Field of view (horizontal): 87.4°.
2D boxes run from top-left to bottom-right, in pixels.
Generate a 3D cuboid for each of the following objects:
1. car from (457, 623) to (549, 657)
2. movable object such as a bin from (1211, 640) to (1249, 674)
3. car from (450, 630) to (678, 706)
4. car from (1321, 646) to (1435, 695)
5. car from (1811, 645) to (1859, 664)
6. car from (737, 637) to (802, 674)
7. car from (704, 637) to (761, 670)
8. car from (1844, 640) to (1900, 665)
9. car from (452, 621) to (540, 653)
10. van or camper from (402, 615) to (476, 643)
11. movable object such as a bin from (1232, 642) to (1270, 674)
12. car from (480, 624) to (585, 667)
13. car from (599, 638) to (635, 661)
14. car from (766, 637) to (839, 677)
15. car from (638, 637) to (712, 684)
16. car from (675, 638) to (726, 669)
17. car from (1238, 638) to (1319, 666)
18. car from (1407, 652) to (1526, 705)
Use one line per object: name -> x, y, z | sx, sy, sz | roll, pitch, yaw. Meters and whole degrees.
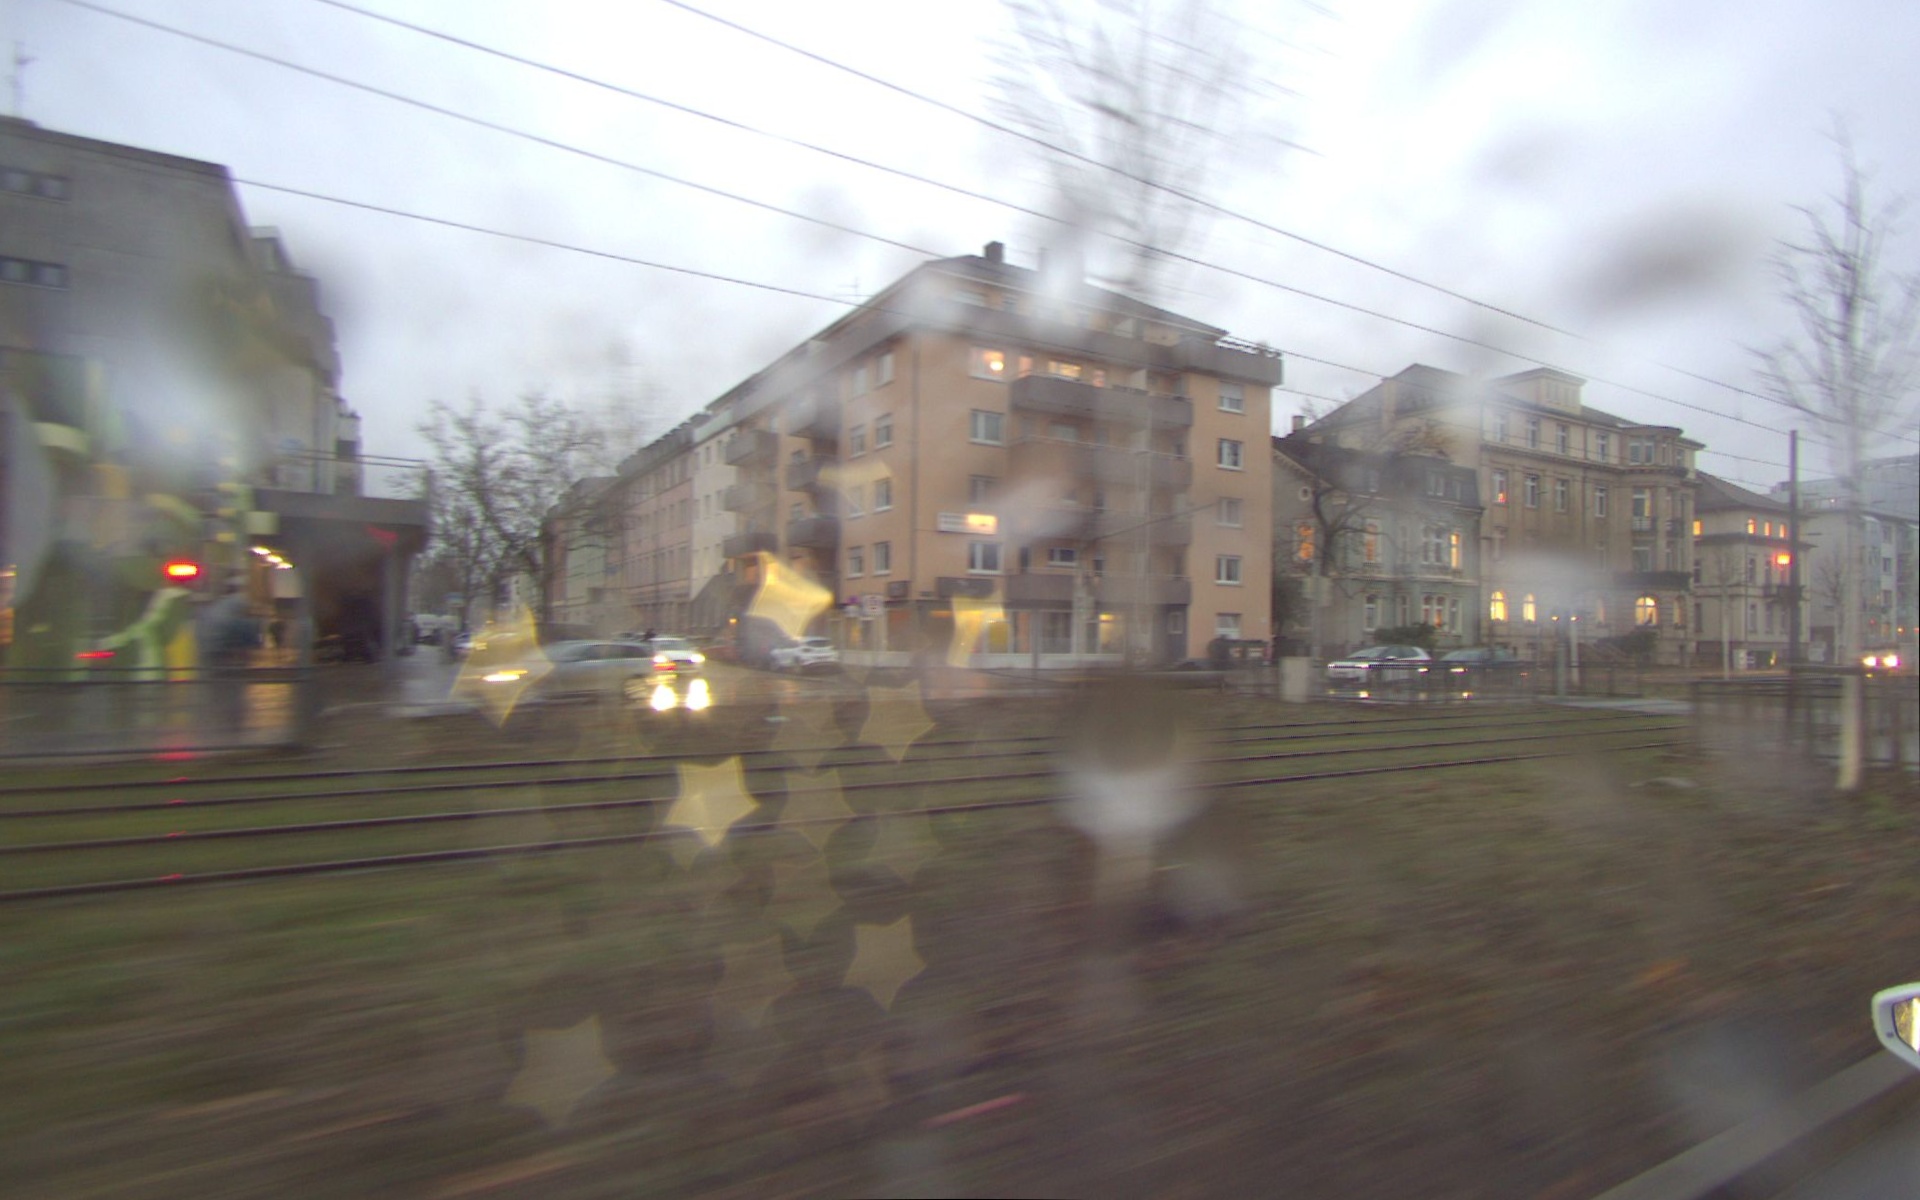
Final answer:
car -> -20.652, 1.806, 45.427 | 3.542, 1.439, 1.712 | 2, -2, -34
movable object such as a bin -> 12.727, 2.661, 47.399 | 1.410, 1.581, 1.101 | 2, -2, -33
car -> -9.129, 1.520, 23.575 | 1.966, 1.565, 4.691 | 0, -2, 33
car -> 15.155, 2.533, 36.361 | 3.955, 1.606, 1.792 | 3, 0, -31
car -> 67.912, 4.213, 77.943 | 3.885, 1.455, 1.796 | 2, -3, -33
car -> -8.937, 2.562, 46.952 | 1.738, 1.572, 3.806 | 2, -2, -31
car -> -11.640, 2.697, 51.239 | 1.738, 1.572, 3.806 | 2, -2, -31
car -> 64.420, 3.677, 70.943 | 4.067, 1.715, 1.982 | 2, -2, -33
car -> -21.964, 1.740, 47.581 | 3.542, 1.439, 1.822 | 2, -2, -34
van or camper -> -44.865, 2.507, 86.557 | 5.566, 2.272, 1.985 | 2, -2, -30
movable object such as a bin -> 13.992, 2.759, 48.249 | 1.410, 1.500, 1.101 | 2, -2, -33
car -> -16.801, 1.800, 39.497 | 3.596, 1.622, 1.609 | 2, -2, -30
car -> -25.437, 3.649, 74.432 | 1.738, 1.572, 3.806 | 2, -2, -31
car -> -6.715, 2.386, 42.608 | 1.758, 1.572, 3.806 | 2, -2, -31
car -> -11.186, 2.333, 39.284 | 1.667, 1.531, 3.964 | 3, 0, -33
car -> -14.548, 2.963, 56.101 | 1.738, 1.572, 3.806 | 2, -2, -31
car -> 17.207, 2.777, 54.422 | 1.813, 1.425, 3.966 | 1, -2, -31
car -> 17.302, 2.663, 34.264 | 3.955, 1.606, 1.792 | 3, 0, -31
